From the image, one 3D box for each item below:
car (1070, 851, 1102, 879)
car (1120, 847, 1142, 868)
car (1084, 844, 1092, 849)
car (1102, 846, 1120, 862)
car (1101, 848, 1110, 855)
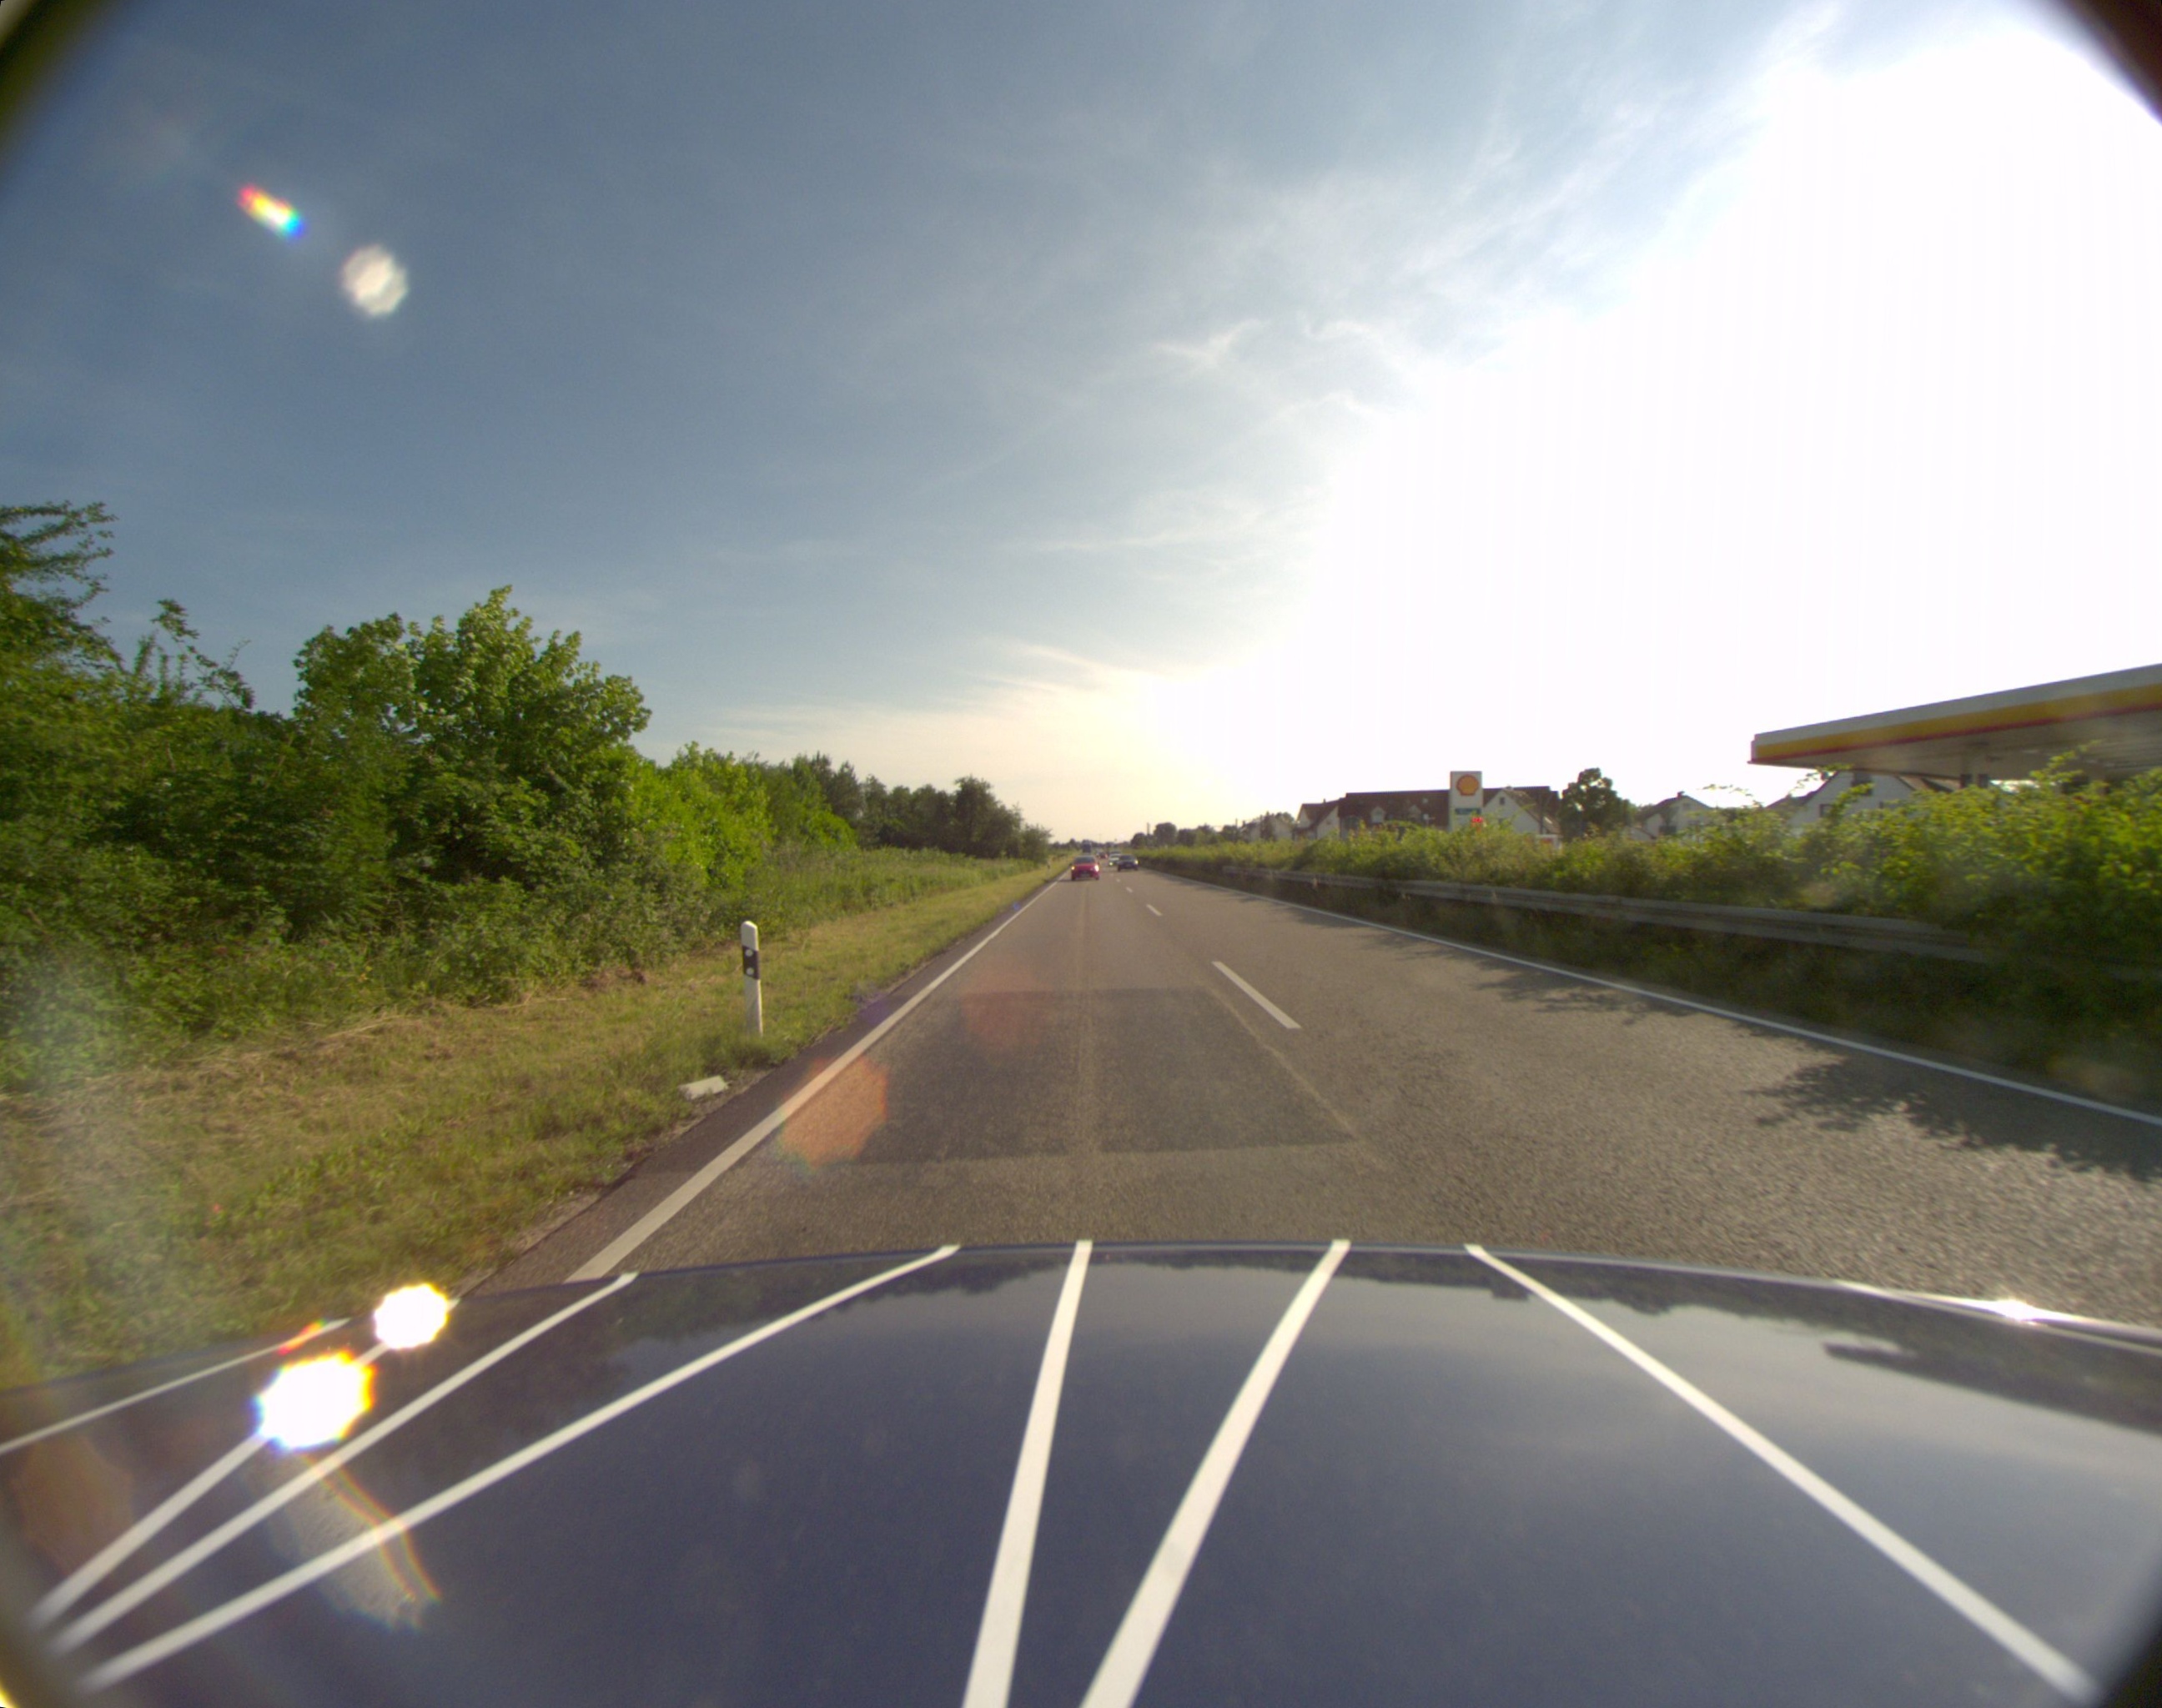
[{"bbox_3d":[0.348,0.664,47.606,1.821,1.565,4.000,-2,1,2],"label":"car"},{"bbox_3d":[4.350,0.299,66.343,1.693,1.695,4.000,-2,1,1],"label":"car"},{"bbox_3d":[1.874,-2.059,211.931,1.998,1.412,4.000,-2,1,2],"label":"car"},{"bbox_3d":[3.530,-0.057,90.518,1.998,1.762,4.000,-2,1,2],"label":"car"},{"bbox_3d":[5.298,-0.642,164.565,1.998,1.412,4.000,-2,1,2],"label":"car"}]
